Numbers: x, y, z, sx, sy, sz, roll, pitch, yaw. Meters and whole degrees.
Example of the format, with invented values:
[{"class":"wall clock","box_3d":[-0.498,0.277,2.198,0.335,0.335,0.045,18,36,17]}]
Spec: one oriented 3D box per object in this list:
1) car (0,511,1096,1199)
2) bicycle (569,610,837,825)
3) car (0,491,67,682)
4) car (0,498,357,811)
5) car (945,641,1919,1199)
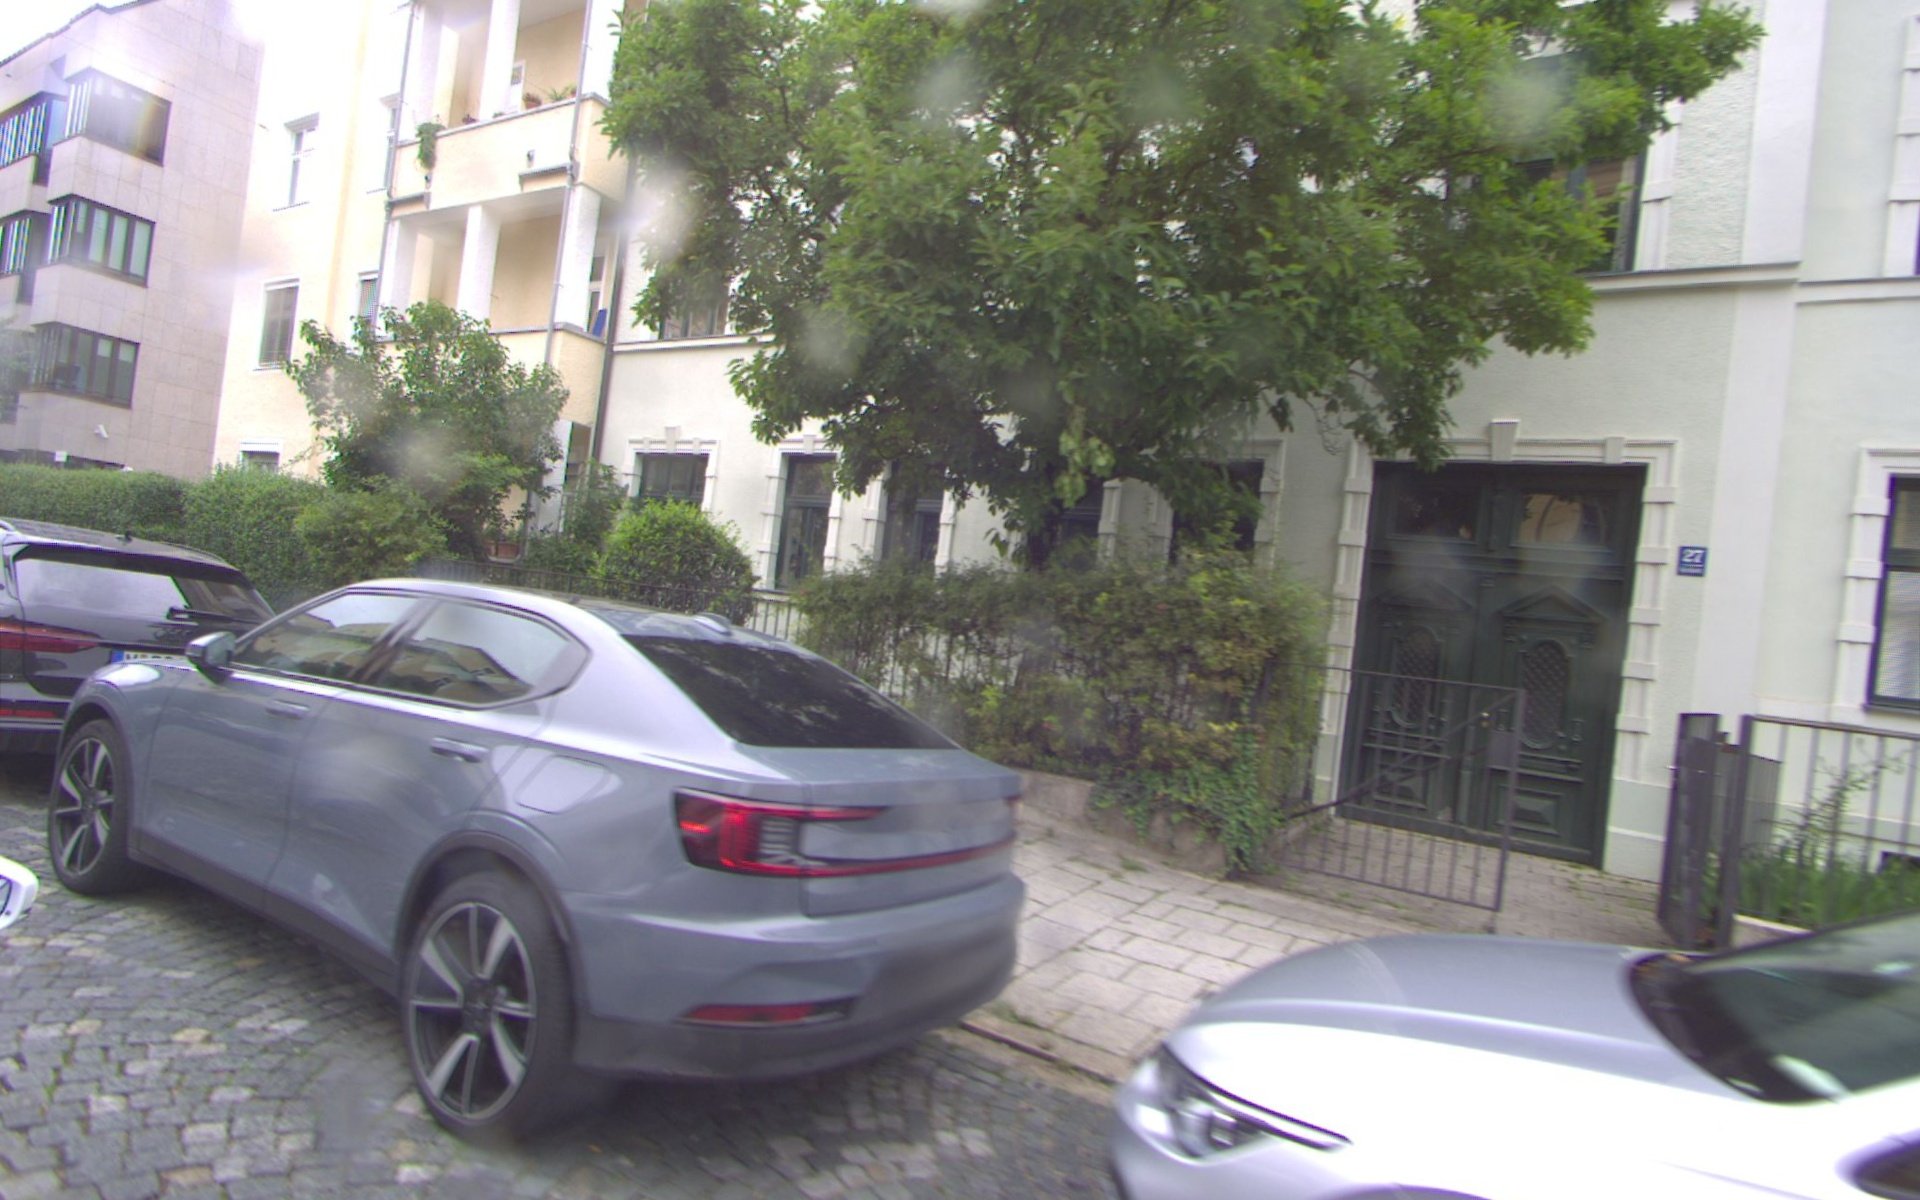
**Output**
[{"class":"car","box_3d":[-2.066,0.674,4.193,4.735,1.504,1.888,6,-5,32]},{"class":"bicycle","box_3d":[-1.794,0.792,7.046,1.617,1.208,0.582,7,-2,17]},{"class":"car","box_3d":[-10.632,-0.387,9.568,4.223,1.671,1.899,6,-4,32]},{"class":"car","box_3d":[-6.390,0.154,6.751,4.967,1.503,1.825,6,-5,33]},{"class":"car","box_3d":[2.316,1.134,1.499,4.407,1.474,1.761,6,-5,32]}]
